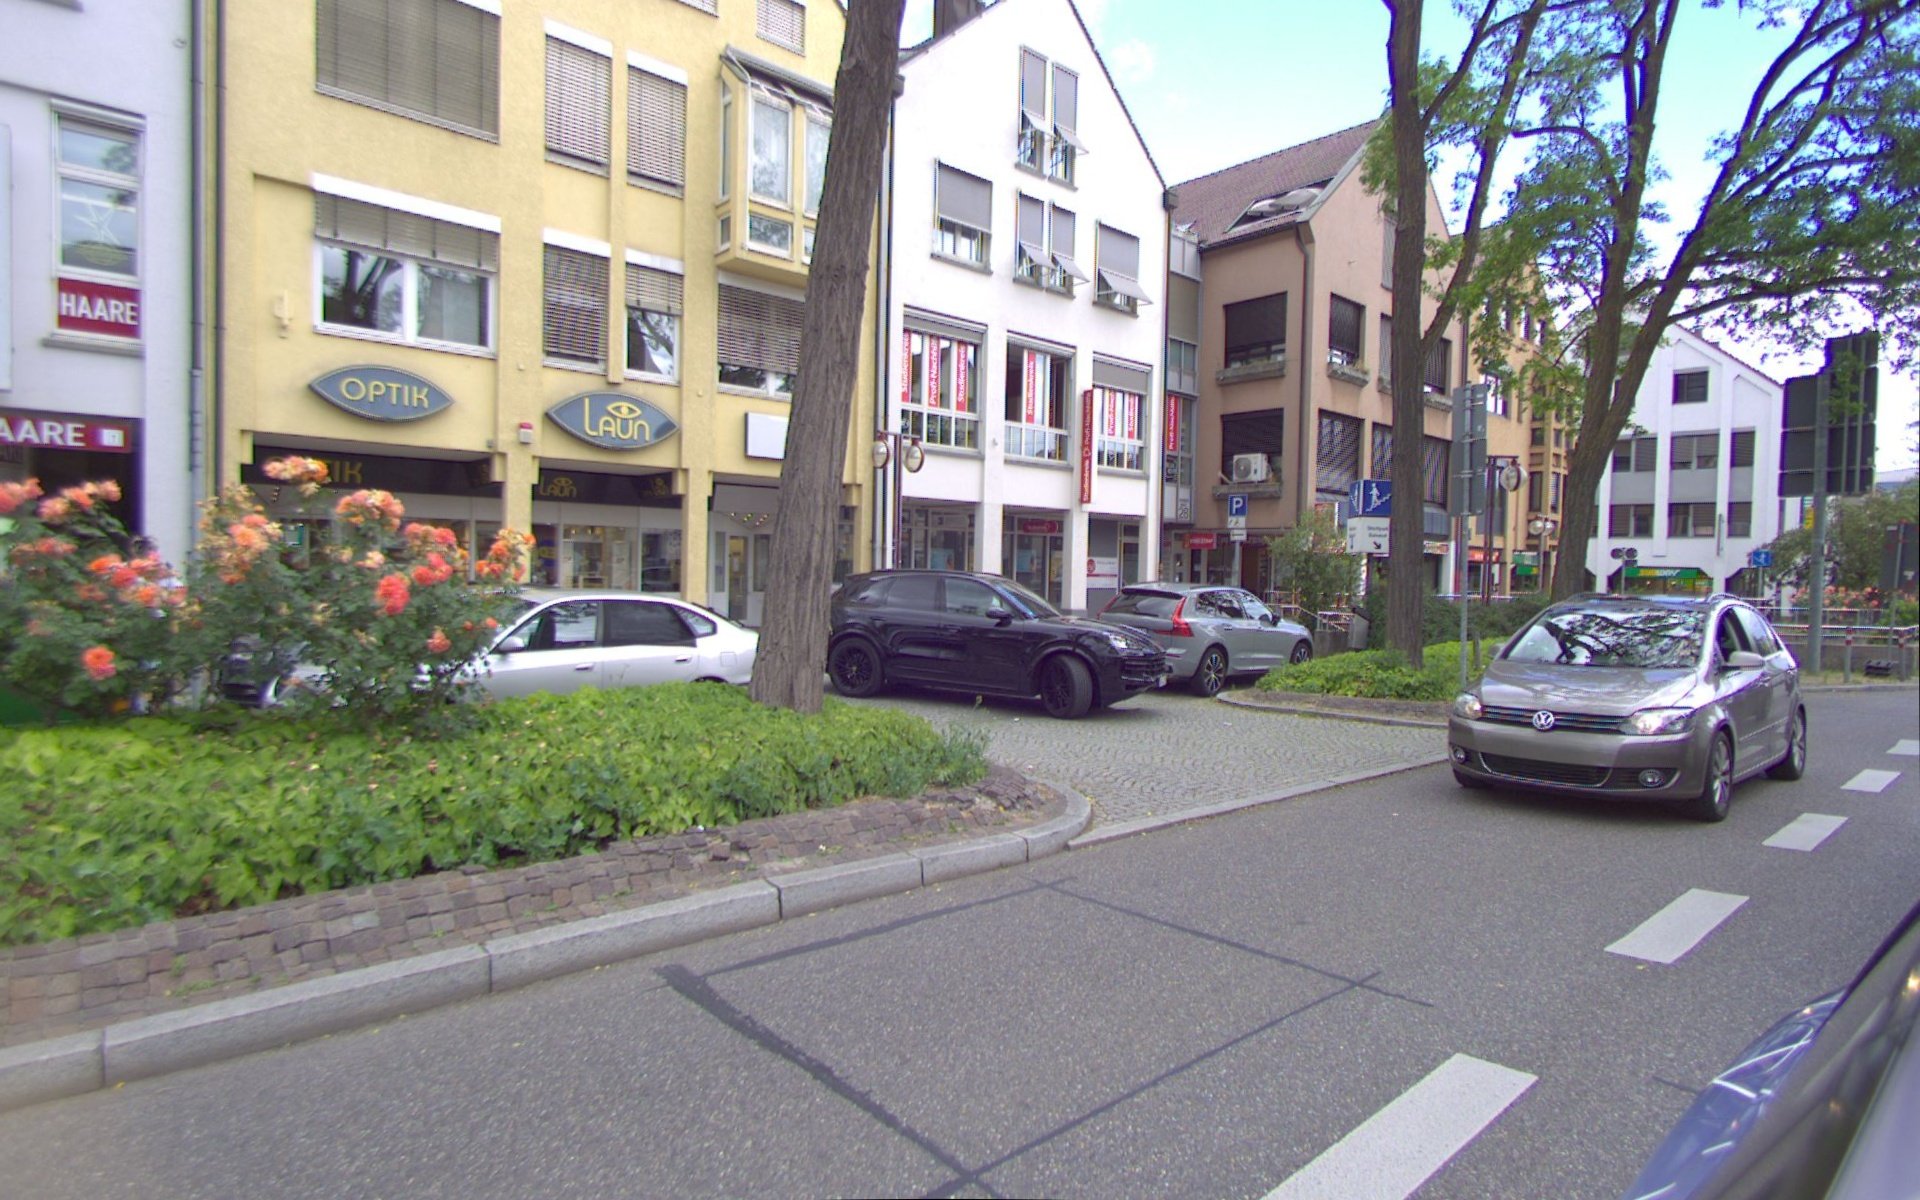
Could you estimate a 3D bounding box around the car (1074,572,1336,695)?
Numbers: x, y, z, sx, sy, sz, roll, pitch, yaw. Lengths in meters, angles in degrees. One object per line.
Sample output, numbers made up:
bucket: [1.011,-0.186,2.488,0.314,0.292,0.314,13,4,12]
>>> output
car: [4.170,0.432,16.737,4.676,1.674,1.996,-1,3,-44]

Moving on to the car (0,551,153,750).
car: [-9.400,0.389,7.920,4.676,1.566,1.996,-1,3,-44]

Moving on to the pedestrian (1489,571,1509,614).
pedestrian: [20.751,-0.298,38.962,0.495,1.645,0.494,1,1,4]

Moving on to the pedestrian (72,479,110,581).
pedestrian: [-14.137,-1.127,16.457,0.555,1.631,0.417,2,1,44]

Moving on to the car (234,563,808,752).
car: [-3.922,0.374,9.620,4.674,1.325,1.841,-1,3,-43]

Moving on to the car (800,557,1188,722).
car: [0.453,0.402,13.363,4.700,1.699,1.985,3,2,23]

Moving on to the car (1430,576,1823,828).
car: [5.558,0.629,8.238,3.932,1.549,1.799,0,0,-43]

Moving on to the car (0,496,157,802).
car: [-7.757,0.268,5.919,4.674,1.899,1.996,-1,3,-43]
